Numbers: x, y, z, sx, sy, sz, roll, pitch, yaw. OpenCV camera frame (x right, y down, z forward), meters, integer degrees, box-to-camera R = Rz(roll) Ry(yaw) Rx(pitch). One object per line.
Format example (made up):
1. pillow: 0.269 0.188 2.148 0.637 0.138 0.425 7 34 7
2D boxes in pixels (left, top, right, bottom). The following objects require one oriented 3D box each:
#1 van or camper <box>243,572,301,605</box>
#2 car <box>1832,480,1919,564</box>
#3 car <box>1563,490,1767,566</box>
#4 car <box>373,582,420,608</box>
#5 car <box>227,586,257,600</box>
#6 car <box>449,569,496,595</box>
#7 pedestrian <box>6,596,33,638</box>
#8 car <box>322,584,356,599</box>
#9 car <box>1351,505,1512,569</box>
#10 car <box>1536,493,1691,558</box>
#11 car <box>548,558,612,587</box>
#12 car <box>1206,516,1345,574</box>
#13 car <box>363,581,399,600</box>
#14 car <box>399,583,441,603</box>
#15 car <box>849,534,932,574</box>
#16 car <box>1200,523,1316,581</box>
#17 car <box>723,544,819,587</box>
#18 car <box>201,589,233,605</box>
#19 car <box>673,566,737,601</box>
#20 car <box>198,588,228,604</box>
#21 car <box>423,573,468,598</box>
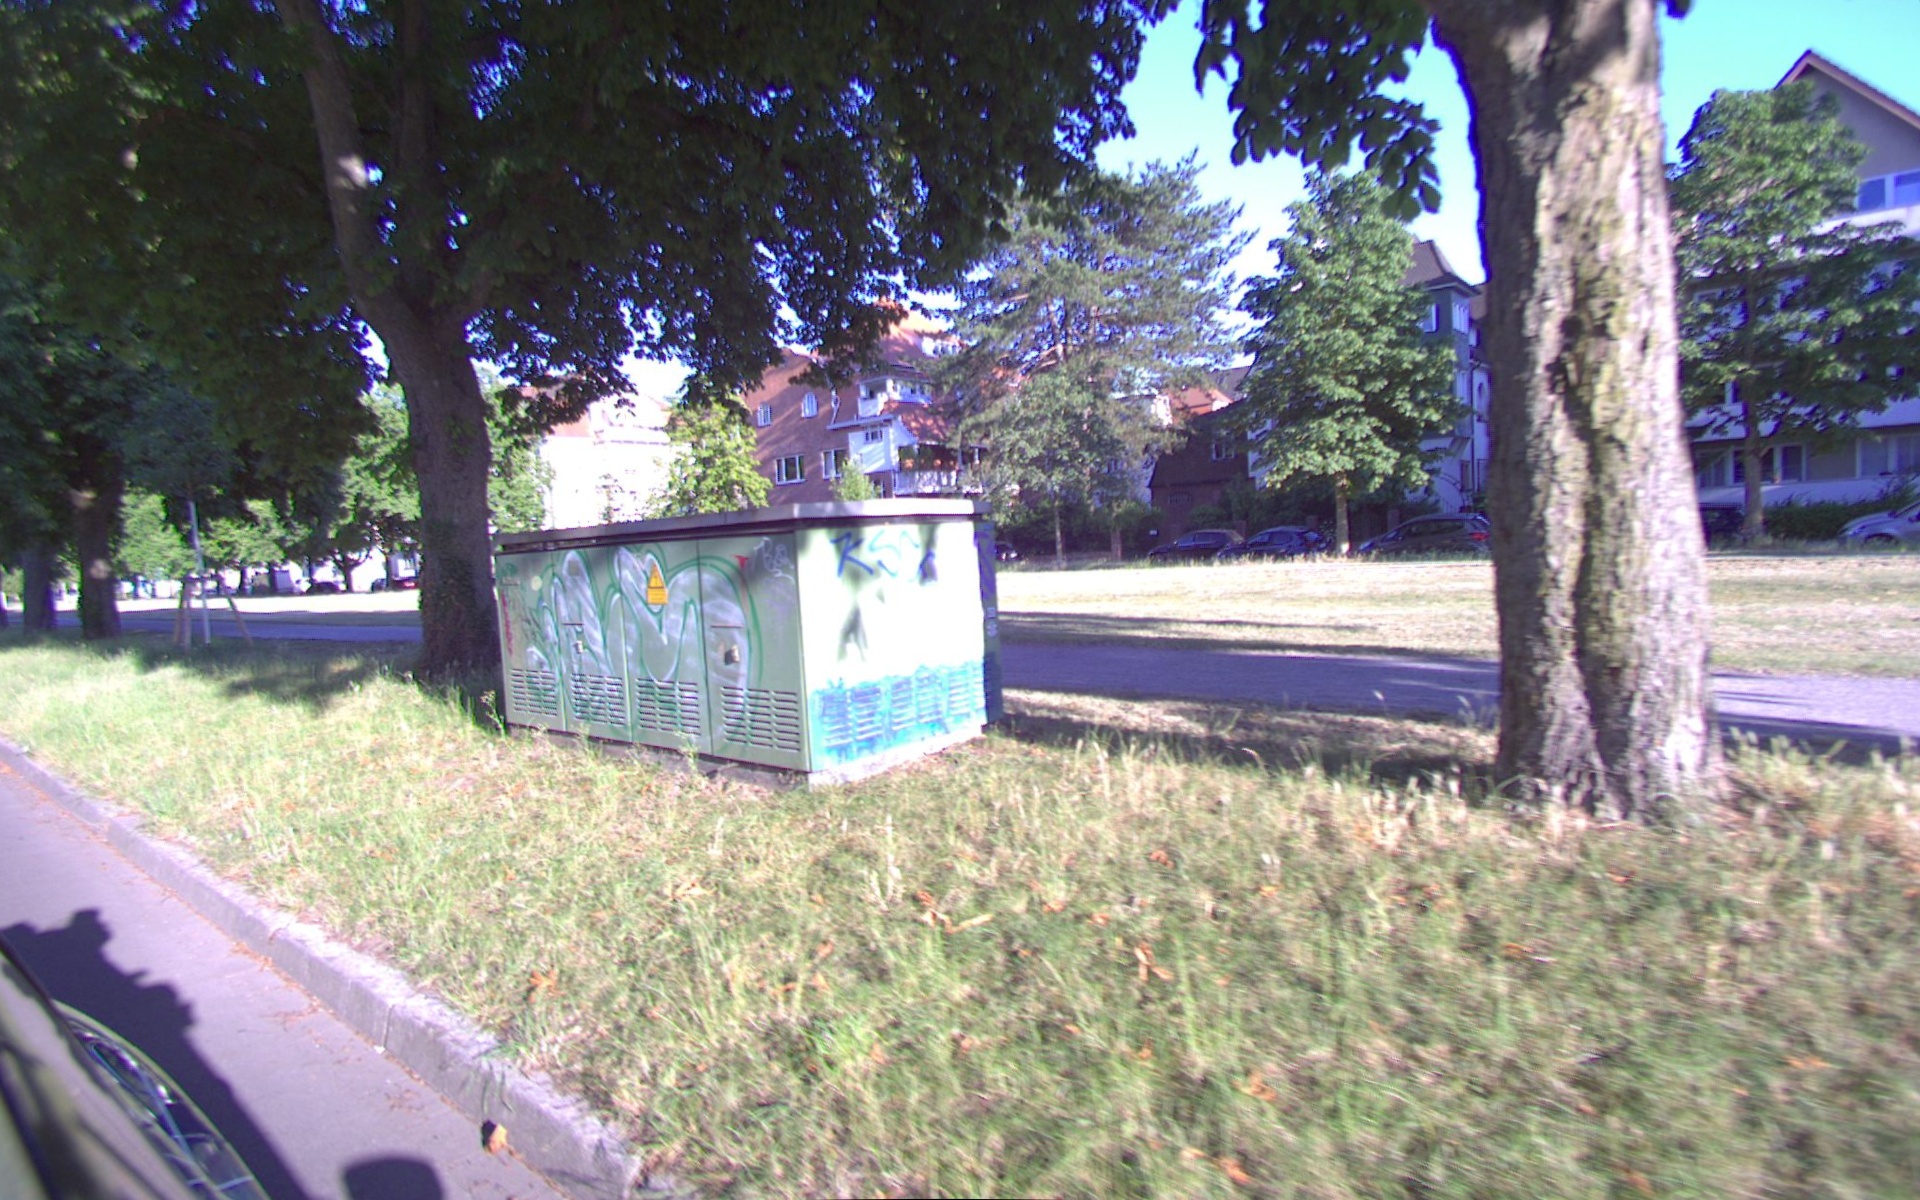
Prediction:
1. van or camper: -74.393 -1.188 109.384 7.894 3.133 3.221 -1 3 42
2. car: 22.993 -1.888 23.382 4.255 1.873 1.973 -1 4 43
3. car: 18.817 -1.909 27.114 4.255 1.733 1.973 -1 4 43
4. car: -47.814 -0.429 85.892 4.876 2.028 1.972 -1 3 43
5. car: -97.220 -0.972 136.950 4.870 1.702 1.975 -2 3 39
6. car: -42.683 -1.585 88.623 4.876 2.028 1.972 -1 3 43
7. pedestrian: -41.104 0.729 44.243 0.716 1.770 0.994 -6 4 -42
8. car: -69.002 -0.949 112.445 3.998 1.475 1.974 -2 2 41
9. car: 14.335 -1.893 30.877 4.001 1.696 1.972 -1 4 44
10. car: 21.001 -2.384 32.575 3.996 1.795 1.975 -1 4 39
11. car: -24.560 -1.761 65.314 4.648 1.651 1.801 -2 3 41
12. car: 10.695 -1.853 34.413 4.001 1.696 1.972 -1 4 44
13. car: -59.087 -0.952 103.203 4.000 1.747 1.972 -2 3 43
14. car: -51.477 -0.672 96.408 4.425 1.664 1.974 -2 3 40
15. car: -3.777 -2.461 54.448 4.407 1.851 1.798 -1 4 42
16. car: 12.055 -1.930 41.079 4.000 2.028 1.972 -2 2 43
17. car: -9.838 -1.773 52.414 5.244 1.954 1.973 -1 4 42
18. car: -89.684 -0.392 122.142 4.874 1.702 1.973 -1 3 42
19. car: -16.649 -1.044 65.980 4.367 2.028 1.739 -2 2 42
20. car: -93.274 -0.518 126.368 4.874 1.702 1.973 -1 3 42
21. car: -47.101 -1.351 92.703 4.425 2.028 1.974 -2 3 40
